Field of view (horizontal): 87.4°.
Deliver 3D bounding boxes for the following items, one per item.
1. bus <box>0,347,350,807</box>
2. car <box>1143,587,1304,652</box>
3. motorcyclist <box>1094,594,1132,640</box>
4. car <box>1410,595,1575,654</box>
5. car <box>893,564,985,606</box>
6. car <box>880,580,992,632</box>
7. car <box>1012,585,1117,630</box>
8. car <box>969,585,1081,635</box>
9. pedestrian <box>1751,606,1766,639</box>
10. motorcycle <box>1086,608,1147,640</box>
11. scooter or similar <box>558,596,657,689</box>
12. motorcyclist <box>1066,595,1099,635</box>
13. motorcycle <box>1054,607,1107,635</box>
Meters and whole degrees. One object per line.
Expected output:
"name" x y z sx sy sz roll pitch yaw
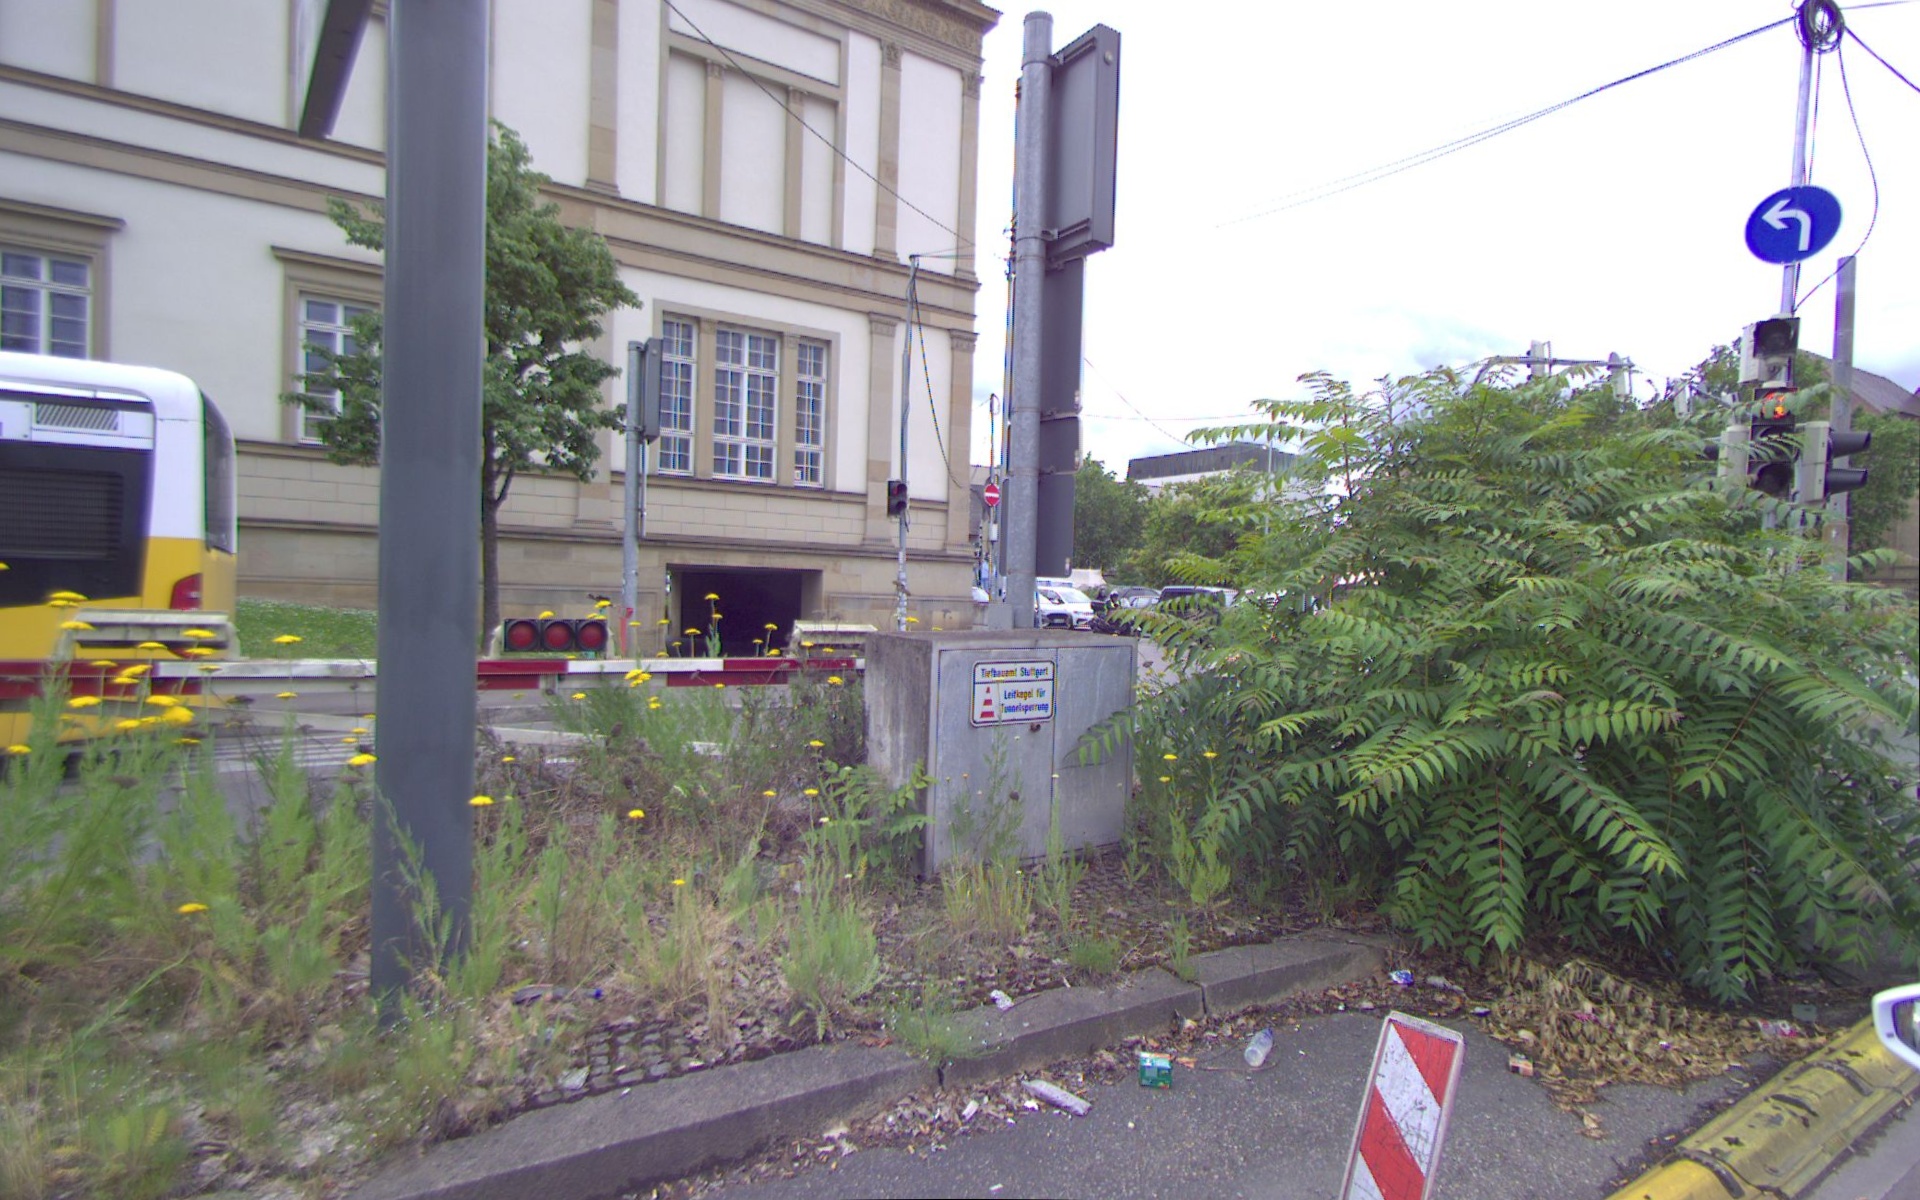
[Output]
"bus" -9.453 -0.228 6.796 9.019 3.156 2.830 1 1 -32
"car" 7.561 0.521 29.234 1.979 1.698 4.285 1 1 -34
"motorcyclist" 4.980 0.547 32.763 0.738 1.442 0.959 1 1 -35
"car" 17.117 0.737 32.448 1.986 1.698 4.271 1 1 -43
"car" -0.955 -0.671 43.681 1.979 1.698 4.285 1 1 -34
"car" -0.922 0.177 35.916 1.979 1.698 4.285 1 1 -34
"car" 4.190 0.271 40.911 1.979 1.698 4.285 1 1 -34
"car" 2.372 0.346 37.616 1.979 1.698 4.285 1 1 -34
"pedestrian" 49.744 1.376 62.567 0.516 2.040 0.428 2 1 17
"motorcycle" 5.061 0.764 32.648 0.749 0.937 2.042 1 1 -35
"scooter or similar" -4.942 0.590 14.132 1.132 1.190 0.540 6 0 -10
"motorcyclist" 4.526 0.551 37.085 0.747 1.442 0.959 1 1 -35
"motorcycle" 4.450 0.776 37.201 0.749 0.937 2.042 1 1 -35
